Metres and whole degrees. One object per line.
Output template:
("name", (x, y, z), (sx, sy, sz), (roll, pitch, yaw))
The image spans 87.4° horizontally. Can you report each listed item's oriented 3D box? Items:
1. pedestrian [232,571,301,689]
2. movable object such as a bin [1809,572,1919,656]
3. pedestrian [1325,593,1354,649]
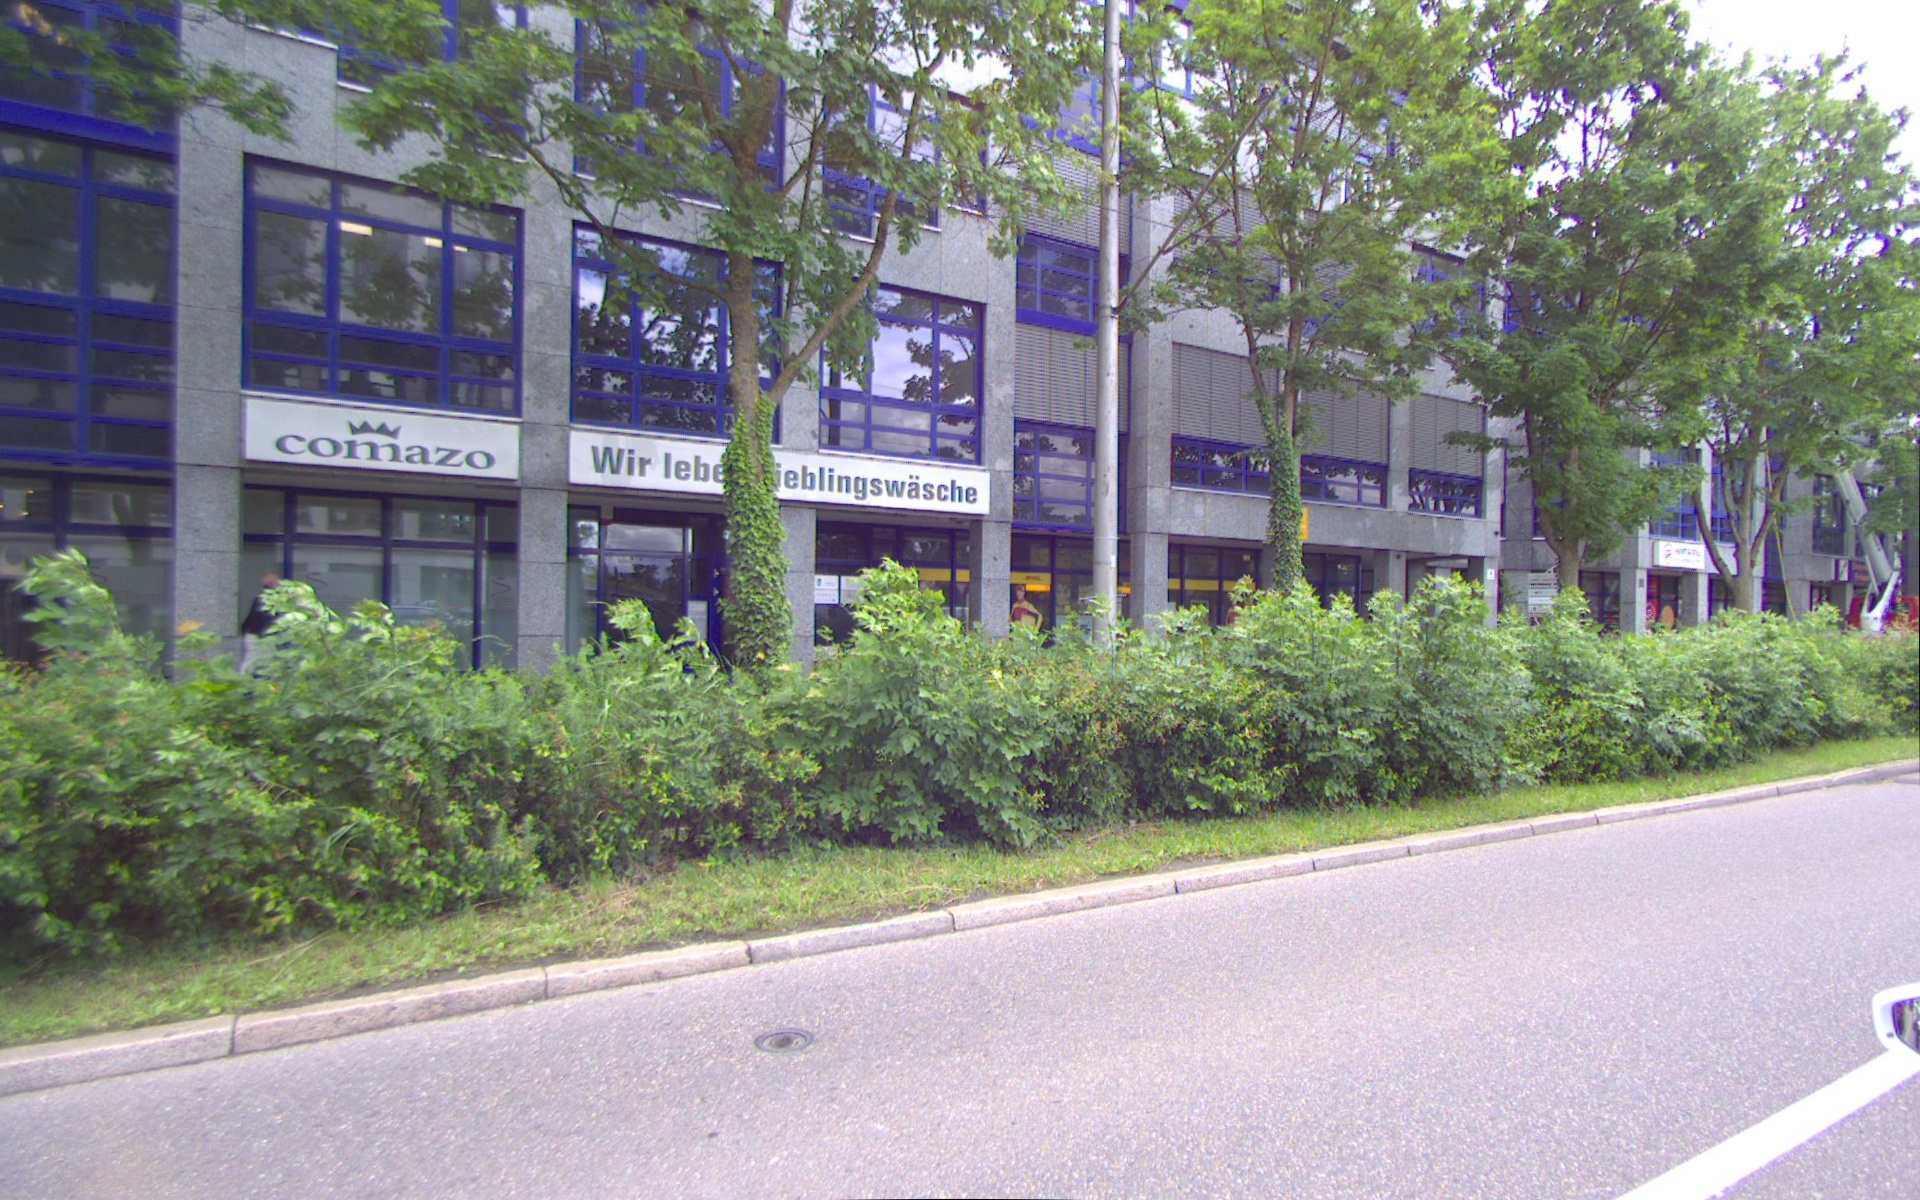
("pedestrian", (-9.137, 0.377, 13.256), (0.671, 1.502, 0.694), (1, 1, -30))
("movable object such as a bin", (29.614, 0.444, 32.608), (4.080, 2.565, 1.895), (1, 0, -31))
("pedestrian", (9.393, 0.525, 24.858), (0.552, 1.352, 0.362), (0, 3, -35))
